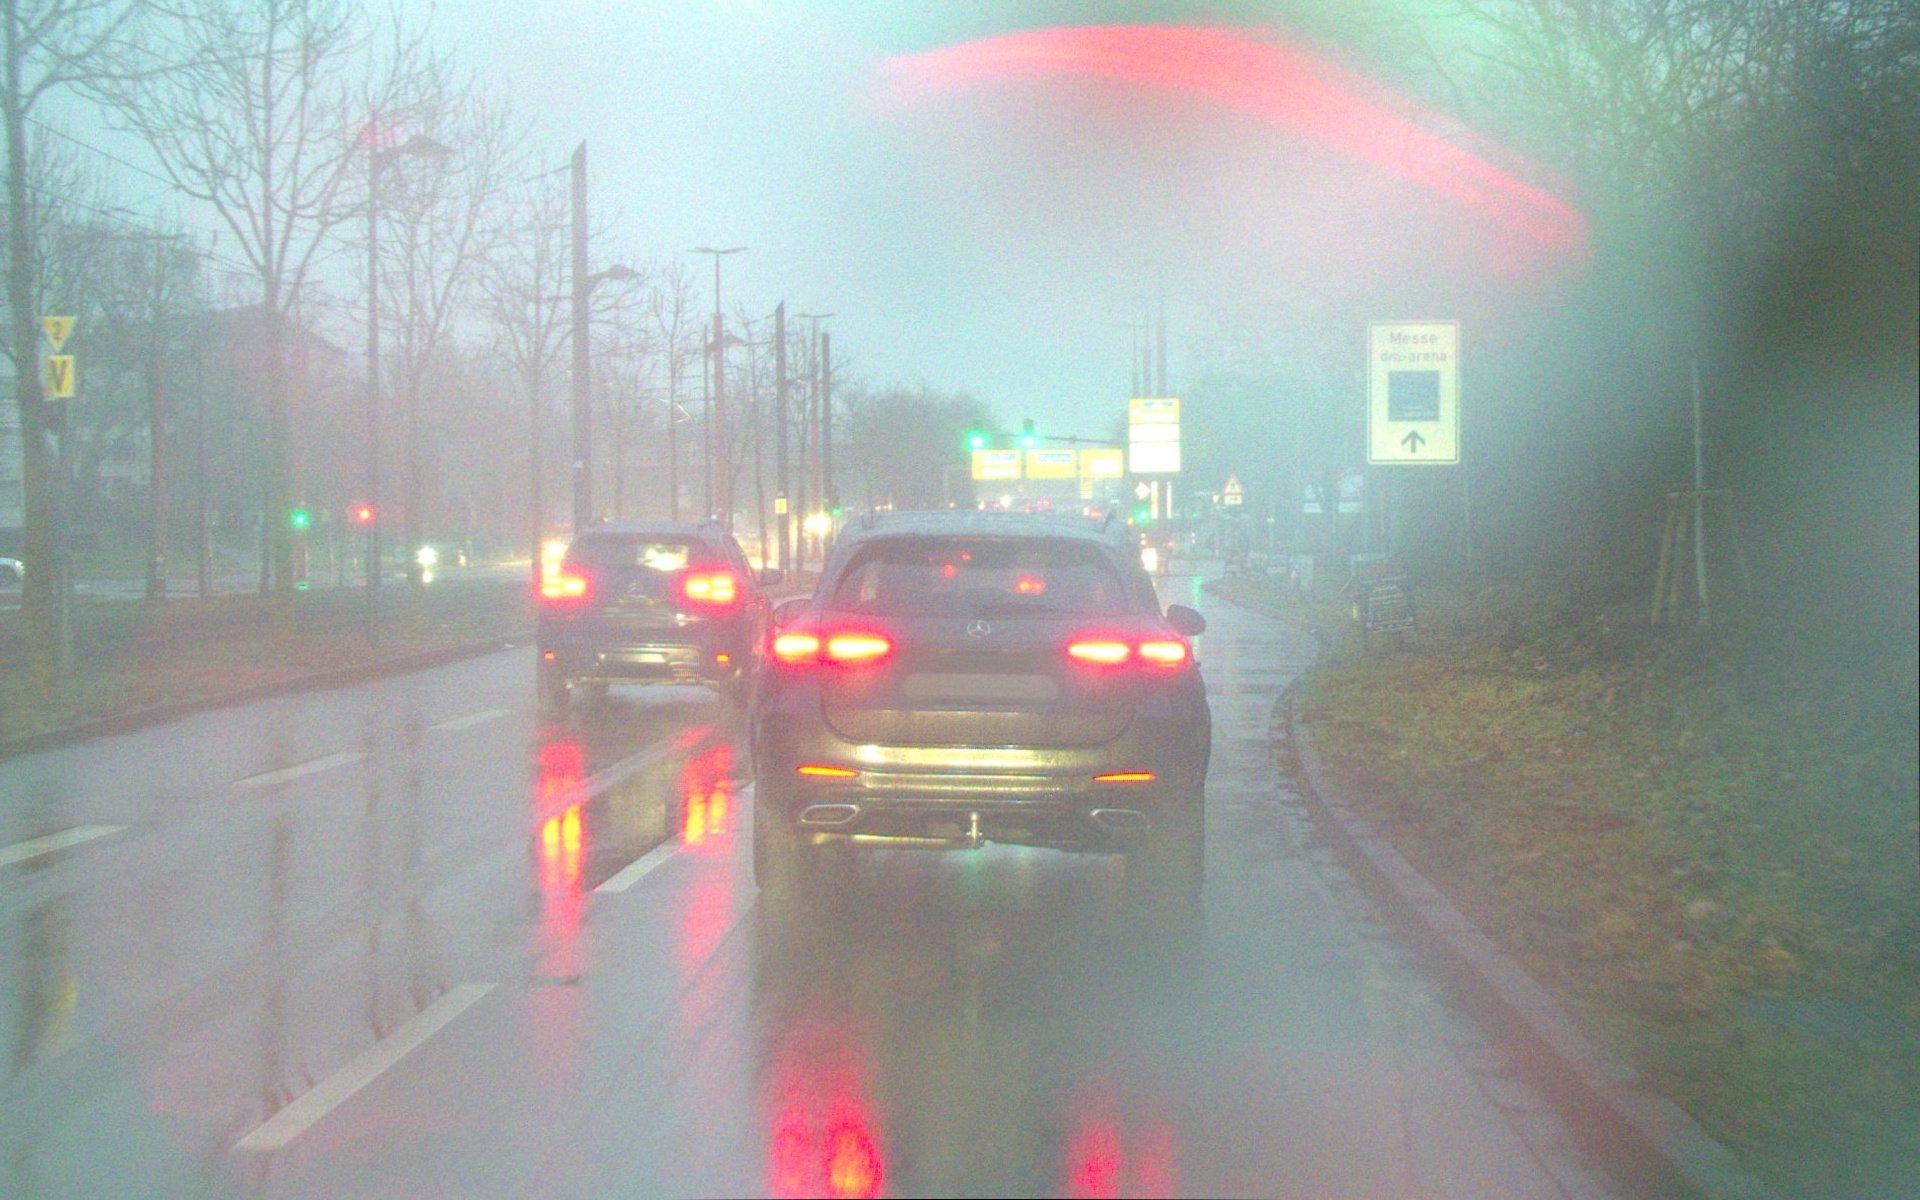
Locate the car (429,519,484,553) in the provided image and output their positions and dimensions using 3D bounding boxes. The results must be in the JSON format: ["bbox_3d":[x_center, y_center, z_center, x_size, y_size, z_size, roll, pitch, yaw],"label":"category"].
[{"bbox_3d":[-25.104,-3.168,171.454,1.993,1.652,4.000,1,1,2],"label":"car"}]

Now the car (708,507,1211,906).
[{"bbox_3d":[0.044,0.374,15.685,1.998,1.578,4.000,0,1,1],"label":"car"}]

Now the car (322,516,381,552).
[{"bbox_3d":[-29.130,-3.161,164.762,1.993,1.652,4.000,1,1,2],"label":"car"}]

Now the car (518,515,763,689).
[{"bbox_3d":[-2.852,-0.030,31.446,1.880,1.454,4.000,-1,2,0],"label":"car"}]

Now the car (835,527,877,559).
[{"bbox_3d":[-5.444,-3.017,180.535,1.993,1.660,3.836,0,1,2],"label":"car"}]

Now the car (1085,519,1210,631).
[{"bbox_3d":[2.682,-0.383,49.872,1.708,1.552,3.996,0,1,2],"label":"car"}]

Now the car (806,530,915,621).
[{"bbox_3d":[-1.736,-0.460,61.189,1.708,1.552,3.996,0,1,2],"label":"car"}]
